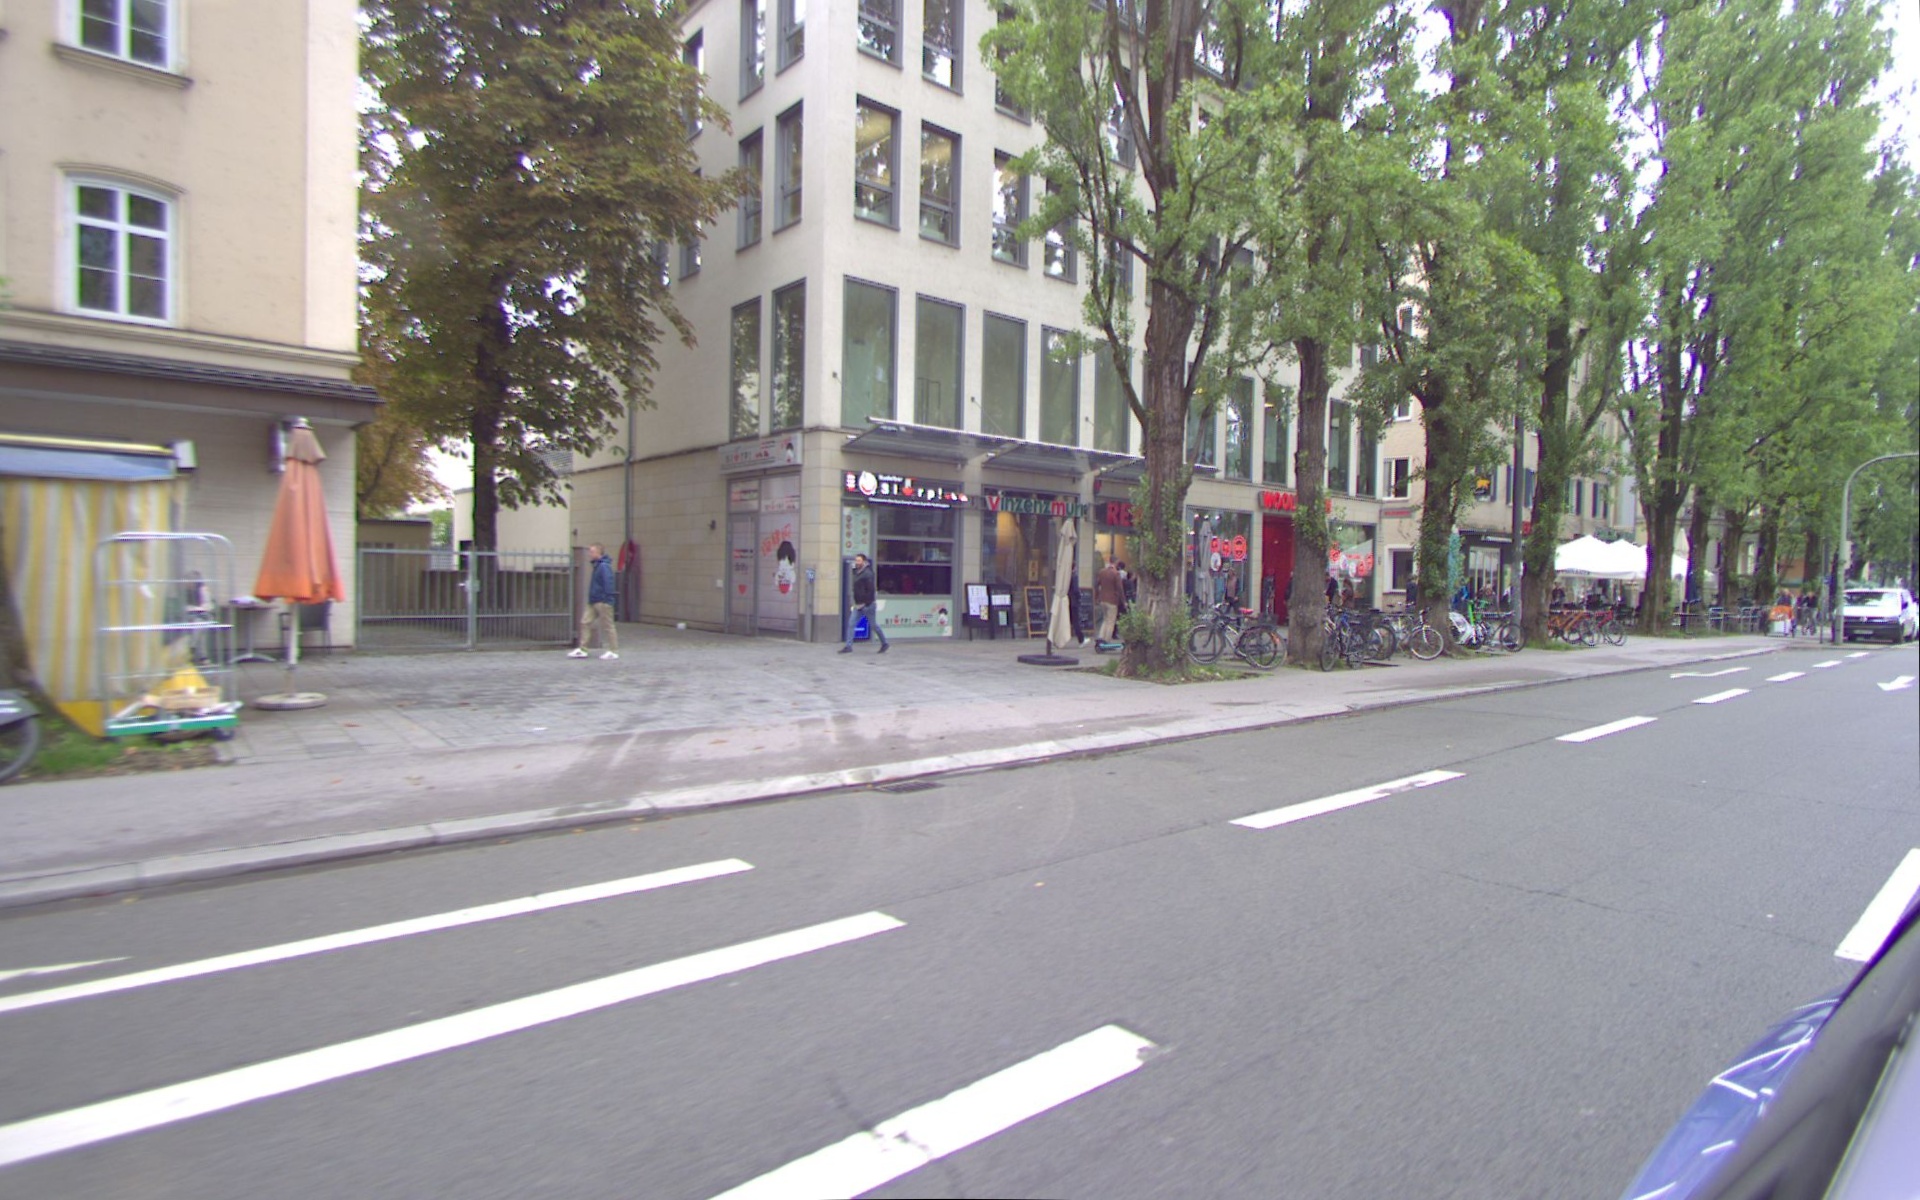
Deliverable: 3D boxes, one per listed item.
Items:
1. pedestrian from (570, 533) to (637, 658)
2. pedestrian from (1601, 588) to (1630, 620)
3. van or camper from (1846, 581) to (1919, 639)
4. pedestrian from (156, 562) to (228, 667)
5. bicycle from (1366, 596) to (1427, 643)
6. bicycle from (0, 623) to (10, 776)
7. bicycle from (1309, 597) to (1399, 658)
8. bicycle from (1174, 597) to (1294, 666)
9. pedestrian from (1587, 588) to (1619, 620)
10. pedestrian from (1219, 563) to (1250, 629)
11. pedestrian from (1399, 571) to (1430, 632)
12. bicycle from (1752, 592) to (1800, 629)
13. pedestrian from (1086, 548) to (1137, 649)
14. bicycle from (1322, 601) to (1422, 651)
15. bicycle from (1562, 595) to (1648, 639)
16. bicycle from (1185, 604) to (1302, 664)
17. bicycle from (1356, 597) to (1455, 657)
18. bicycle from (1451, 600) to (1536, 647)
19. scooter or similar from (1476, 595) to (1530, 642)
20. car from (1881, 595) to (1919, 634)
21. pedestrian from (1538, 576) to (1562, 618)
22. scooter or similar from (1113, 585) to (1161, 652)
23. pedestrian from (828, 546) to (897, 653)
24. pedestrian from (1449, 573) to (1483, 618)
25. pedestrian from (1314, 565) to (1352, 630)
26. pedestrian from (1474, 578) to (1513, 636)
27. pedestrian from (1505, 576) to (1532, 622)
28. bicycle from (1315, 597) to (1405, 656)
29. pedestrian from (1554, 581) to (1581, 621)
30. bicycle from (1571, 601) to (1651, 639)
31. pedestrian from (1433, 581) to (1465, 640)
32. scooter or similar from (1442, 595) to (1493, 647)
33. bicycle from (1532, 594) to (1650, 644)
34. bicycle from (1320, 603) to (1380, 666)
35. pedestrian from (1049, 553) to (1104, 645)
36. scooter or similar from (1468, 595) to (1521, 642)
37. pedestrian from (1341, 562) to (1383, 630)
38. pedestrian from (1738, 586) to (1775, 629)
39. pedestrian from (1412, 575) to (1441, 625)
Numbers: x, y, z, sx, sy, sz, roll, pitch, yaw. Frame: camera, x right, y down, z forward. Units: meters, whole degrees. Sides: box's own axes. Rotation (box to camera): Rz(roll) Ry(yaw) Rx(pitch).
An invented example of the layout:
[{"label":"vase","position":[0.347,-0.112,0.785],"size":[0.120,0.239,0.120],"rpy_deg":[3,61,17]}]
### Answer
[{"label":"pedestrian","position":[-5.414,-0.080,15.351],"size":[0.742,1.837,0.745],"rpy_deg":[0,1,-37]},{"label":"pedestrian","position":[26.395,0.155,40.741],"size":[1.004,1.231,0.668],"rpy_deg":[0,0,-37]},{"label":"van or camper","position":[33.192,0.315,36.066],"size":[4.485,1.929,1.794],"rpy_deg":[0,1,-40]},{"label":"pedestrian","position":[-9.706,0.164,12.785],"size":[0.687,1.280,0.777],"rpy_deg":[0,1,-40]},{"label":"bicycle","position":[10.575,0.463,24.493],"size":[1.968,1.076,0.393],"rpy_deg":[0,2,-37]},{"label":"bicycle","position":[-7.120,0.669,6.303],"size":[1.740,0.987,0.509],"rpy_deg":[0,1,-43]},{"label":"bicycle","position":[7.957,0.539,20.483],"size":[1.669,1.131,0.282],"rpy_deg":[2,1,38]},{"label":"bicycle","position":[4.715,0.520,17.512],"size":[1.991,1.096,0.282],"rpy_deg":[2,1,34]},{"label":"pedestrian","position":[25.376,0.151,39.928],"size":[1.004,1.231,0.775],"rpy_deg":[0,1,-37]},{"label":"pedestrian","position":[7.565,-0.114,27.861],"size":[0.630,1.790,0.547],"rpy_deg":[1,0,-41]},{"label":"pedestrian","position":[13.395,0.031,29.823],"size":[0.684,1.764,0.566],"rpy_deg":[1,0,-38]},{"label":"bicycle","position":[33.213,0.412,41.252],"size":[0.819,1.429,2.580],"rpy_deg":[1,1,23]},{"label":"pedestrian","position":[3.068,-0.042,20.441],"size":[0.709,1.995,0.658],"rpy_deg":[1,1,-38]},{"label":"bicycle","position":[8.999,0.549,22.161],"size":[1.997,1.000,0.387],"rpy_deg":[2,1,42]},{"label":"bicycle","position":[18.191,0.459,28.566],"size":[0.674,1.140,1.902],"rpy_deg":[0,2,-40]},{"label":"bicycle","position":[4.994,0.575,17.903],"size":[1.992,0.957,0.282],"rpy_deg":[2,1,35]},{"label":"bicycle","position":[9.315,0.536,21.218],"size":[1.864,1.149,0.335],"rpy_deg":[3,2,42]},{"label":"bicycle","position":[12.956,0.550,24.632],"size":[0.385,1.021,1.848],"rpy_deg":[1,3,-31]},{"label":"scooter or similar","position":[13.824,0.464,25.764],"size":[1.221,1.184,0.286],"rpy_deg":[0,0,2]},{"label":"car","position":[37.252,0.551,39.490],"size":[3.421,1.414,1.475],"rpy_deg":[0,2,-40]},{"label":"pedestrian","position":[24.475,-0.129,41.983],"size":[0.669,1.741,0.629],"rpy_deg":[1,0,-40]},{"label":"scooter or similar","position":[3.483,0.357,19.885],"size":[1.018,1.289,0.331],"rpy_deg":[0,1,-41]},{"label":"pedestrian","position":[-1.715,-0.025,17.938],"size":[0.805,1.837,0.971],"rpy_deg":[1,1,28]},{"label":"pedestrian","position":[18.545,-0.155,37.071],"size":[0.998,1.624,0.764],"rpy_deg":[0,0,-40]},{"label":"pedestrian","position":[11.007,-0.085,29.870],"size":[0.806,1.877,0.753],"rpy_deg":[0,0,-39]},{"label":"pedestrian","position":[15.359,0.179,29.140],"size":[0.780,1.608,0.711],"rpy_deg":[0,3,-43]},{"label":"pedestrian","position":[20.552,-0.040,37.254],"size":[0.680,1.685,0.667],"rpy_deg":[0,0,-42]},{"label":"bicycle","position":[8.209,0.521,20.794],"size":[1.657,1.120,0.391],"rpy_deg":[2,1,39]},{"label":"pedestrian","position":[24.910,0.040,41.463],"size":[0.858,1.597,0.696],"rpy_deg":[0,0,-40]},{"label":"bicycle","position":[18.793,0.560,29.244],"size":[0.494,1.022,1.843],"rpy_deg":[0,2,-40]},{"label":"pedestrian","position":[14.021,0.302,29.025],"size":[0.737,1.669,0.548],"rpy_deg":[1,0,-38]},{"label":"scooter or similar","position":[12.064,0.485,24.092],"size":[0.395,1.184,1.247],"rpy_deg":[0,2,-11]},{"label":"bicycle","position":[17.249,0.490,27.736],"size":[0.948,1.230,2.577],"rpy_deg":[0,2,-40]},{"label":"bicycle","position":[7.163,0.605,18.533],"size":[0.433,1.074,1.977],"rpy_deg":[2,2,39]},{"label":"pedestrian","position":[2.422,-0.031,20.978],"size":[0.889,1.874,0.658],"rpy_deg":[0,1,-39]},{"label":"scooter or similar","position":[13.794,0.477,26.125],"size":[1.220,1.184,0.307],"rpy_deg":[0,0,-1]},{"label":"pedestrian","position":[11.439,-0.135,28.798],"size":[0.806,1.893,0.754],"rpy_deg":[0,1,-38]},{"label":"pedestrian","position":[34.454,0.315,43.793],"size":[0.819,1.788,0.945],"rpy_deg":[1,0,-3]},{"label":"pedestrian","position":[14.612,0.002,31.676],"size":[0.684,1.539,0.566],"rpy_deg":[1,0,-38]}]
